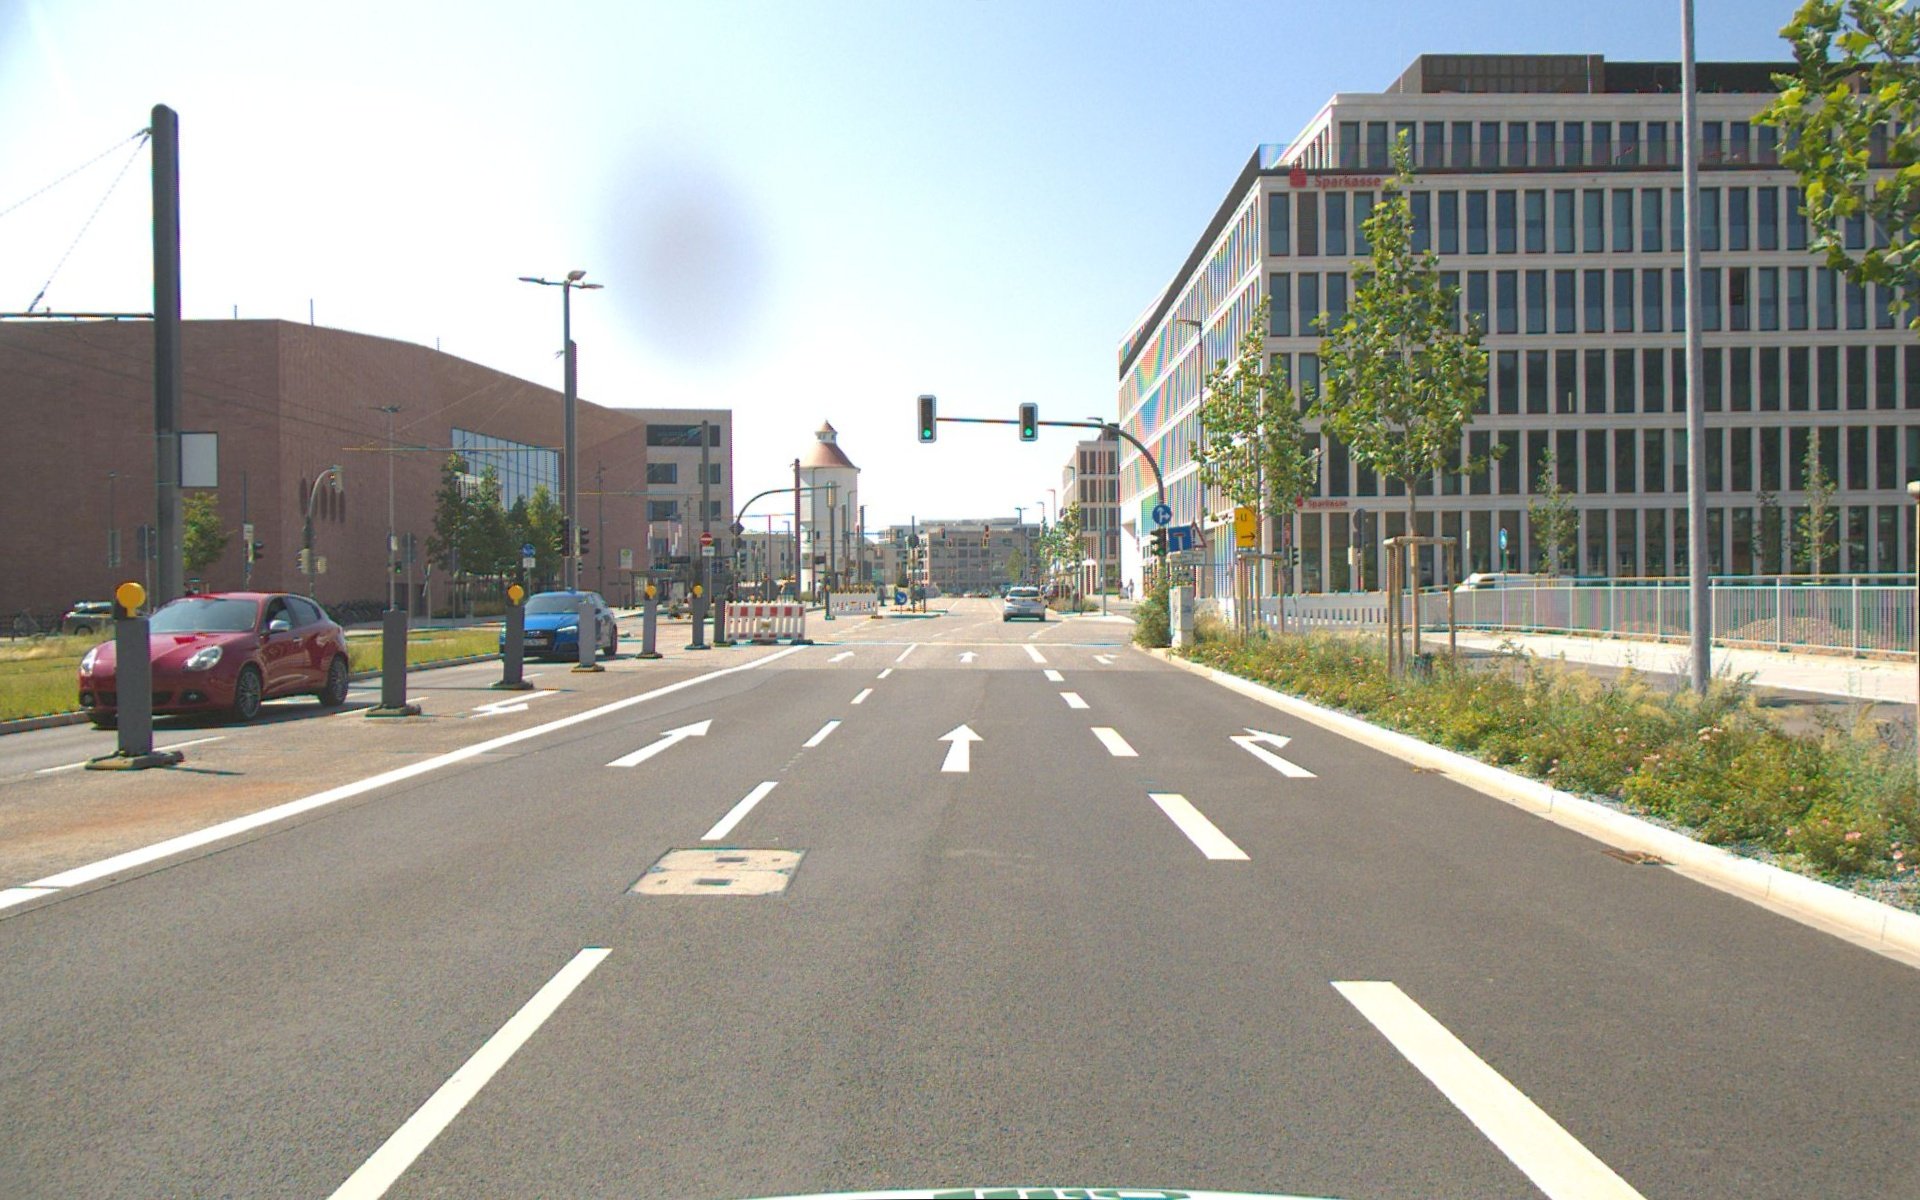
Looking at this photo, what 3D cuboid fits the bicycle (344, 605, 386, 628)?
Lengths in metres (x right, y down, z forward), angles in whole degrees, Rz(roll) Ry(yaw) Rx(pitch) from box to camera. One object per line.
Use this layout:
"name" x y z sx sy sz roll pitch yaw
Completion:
"bicycle" -31.530 0.872 87.723 2.014 1.233 0.538 0 1 -10

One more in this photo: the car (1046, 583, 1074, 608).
"car" 6.292 -0.273 103.801 1.700 1.500 3.982 0 0 5

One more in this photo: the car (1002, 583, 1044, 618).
"car" 2.712 0.047 71.071 1.734 1.419 3.533 1 -1 2

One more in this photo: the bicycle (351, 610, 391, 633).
"bicycle" -32.541 1.193 91.368 2.015 1.233 0.538 0 1 -12

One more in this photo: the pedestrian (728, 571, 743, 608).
"pedestrian" -11.252 -0.521 82.876 0.639 1.865 0.661 0 1 5

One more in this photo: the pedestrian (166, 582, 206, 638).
"pedestrian" -26.278 0.335 56.144 0.794 1.879 1.108 0 0 4

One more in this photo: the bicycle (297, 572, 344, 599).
"bicycle" -30.251 -0.687 78.239 2.015 1.233 0.538 0 1 -12

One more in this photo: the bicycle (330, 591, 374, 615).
"bicycle" -31.171 0.159 84.784 2.014 1.233 0.538 0 0 -10

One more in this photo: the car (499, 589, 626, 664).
"car" -8.395 0.512 35.277 1.594 1.452 4.290 -2 0 0

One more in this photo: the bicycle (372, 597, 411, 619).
"bicycle" -32.780 0.462 95.378 2.014 1.233 0.538 0 1 -10

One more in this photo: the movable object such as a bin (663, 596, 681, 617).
"movable object such as a bin" -14.665 0.331 84.335 0.705 1.050 0.786 0 1 -28

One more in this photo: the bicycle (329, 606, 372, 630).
"bicycle" -31.608 0.920 85.852 2.014 1.233 0.538 0 1 -10

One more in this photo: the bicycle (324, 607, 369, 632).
"bicycle" -30.550 0.964 82.390 2.014 1.233 0.538 0 1 -10

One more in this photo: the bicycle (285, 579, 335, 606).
"bicycle" -29.763 -0.337 75.760 2.014 1.233 0.538 1 0 -10

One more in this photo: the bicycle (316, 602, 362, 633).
"bicycle" -30.198 0.866 80.479 2.014 1.478 0.538 0 1 -10

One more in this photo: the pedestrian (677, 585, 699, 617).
"pedestrian" -13.936 0.055 84.721 0.919 1.590 0.786 0 1 -28

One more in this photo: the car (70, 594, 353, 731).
"car" -8.825 0.677 19.879 1.547 1.441 3.999 -1 0 0

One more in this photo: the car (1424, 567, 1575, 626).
"car" 23.026 -0.169 70.689 5.716 2.310 2.147 2 0 1
